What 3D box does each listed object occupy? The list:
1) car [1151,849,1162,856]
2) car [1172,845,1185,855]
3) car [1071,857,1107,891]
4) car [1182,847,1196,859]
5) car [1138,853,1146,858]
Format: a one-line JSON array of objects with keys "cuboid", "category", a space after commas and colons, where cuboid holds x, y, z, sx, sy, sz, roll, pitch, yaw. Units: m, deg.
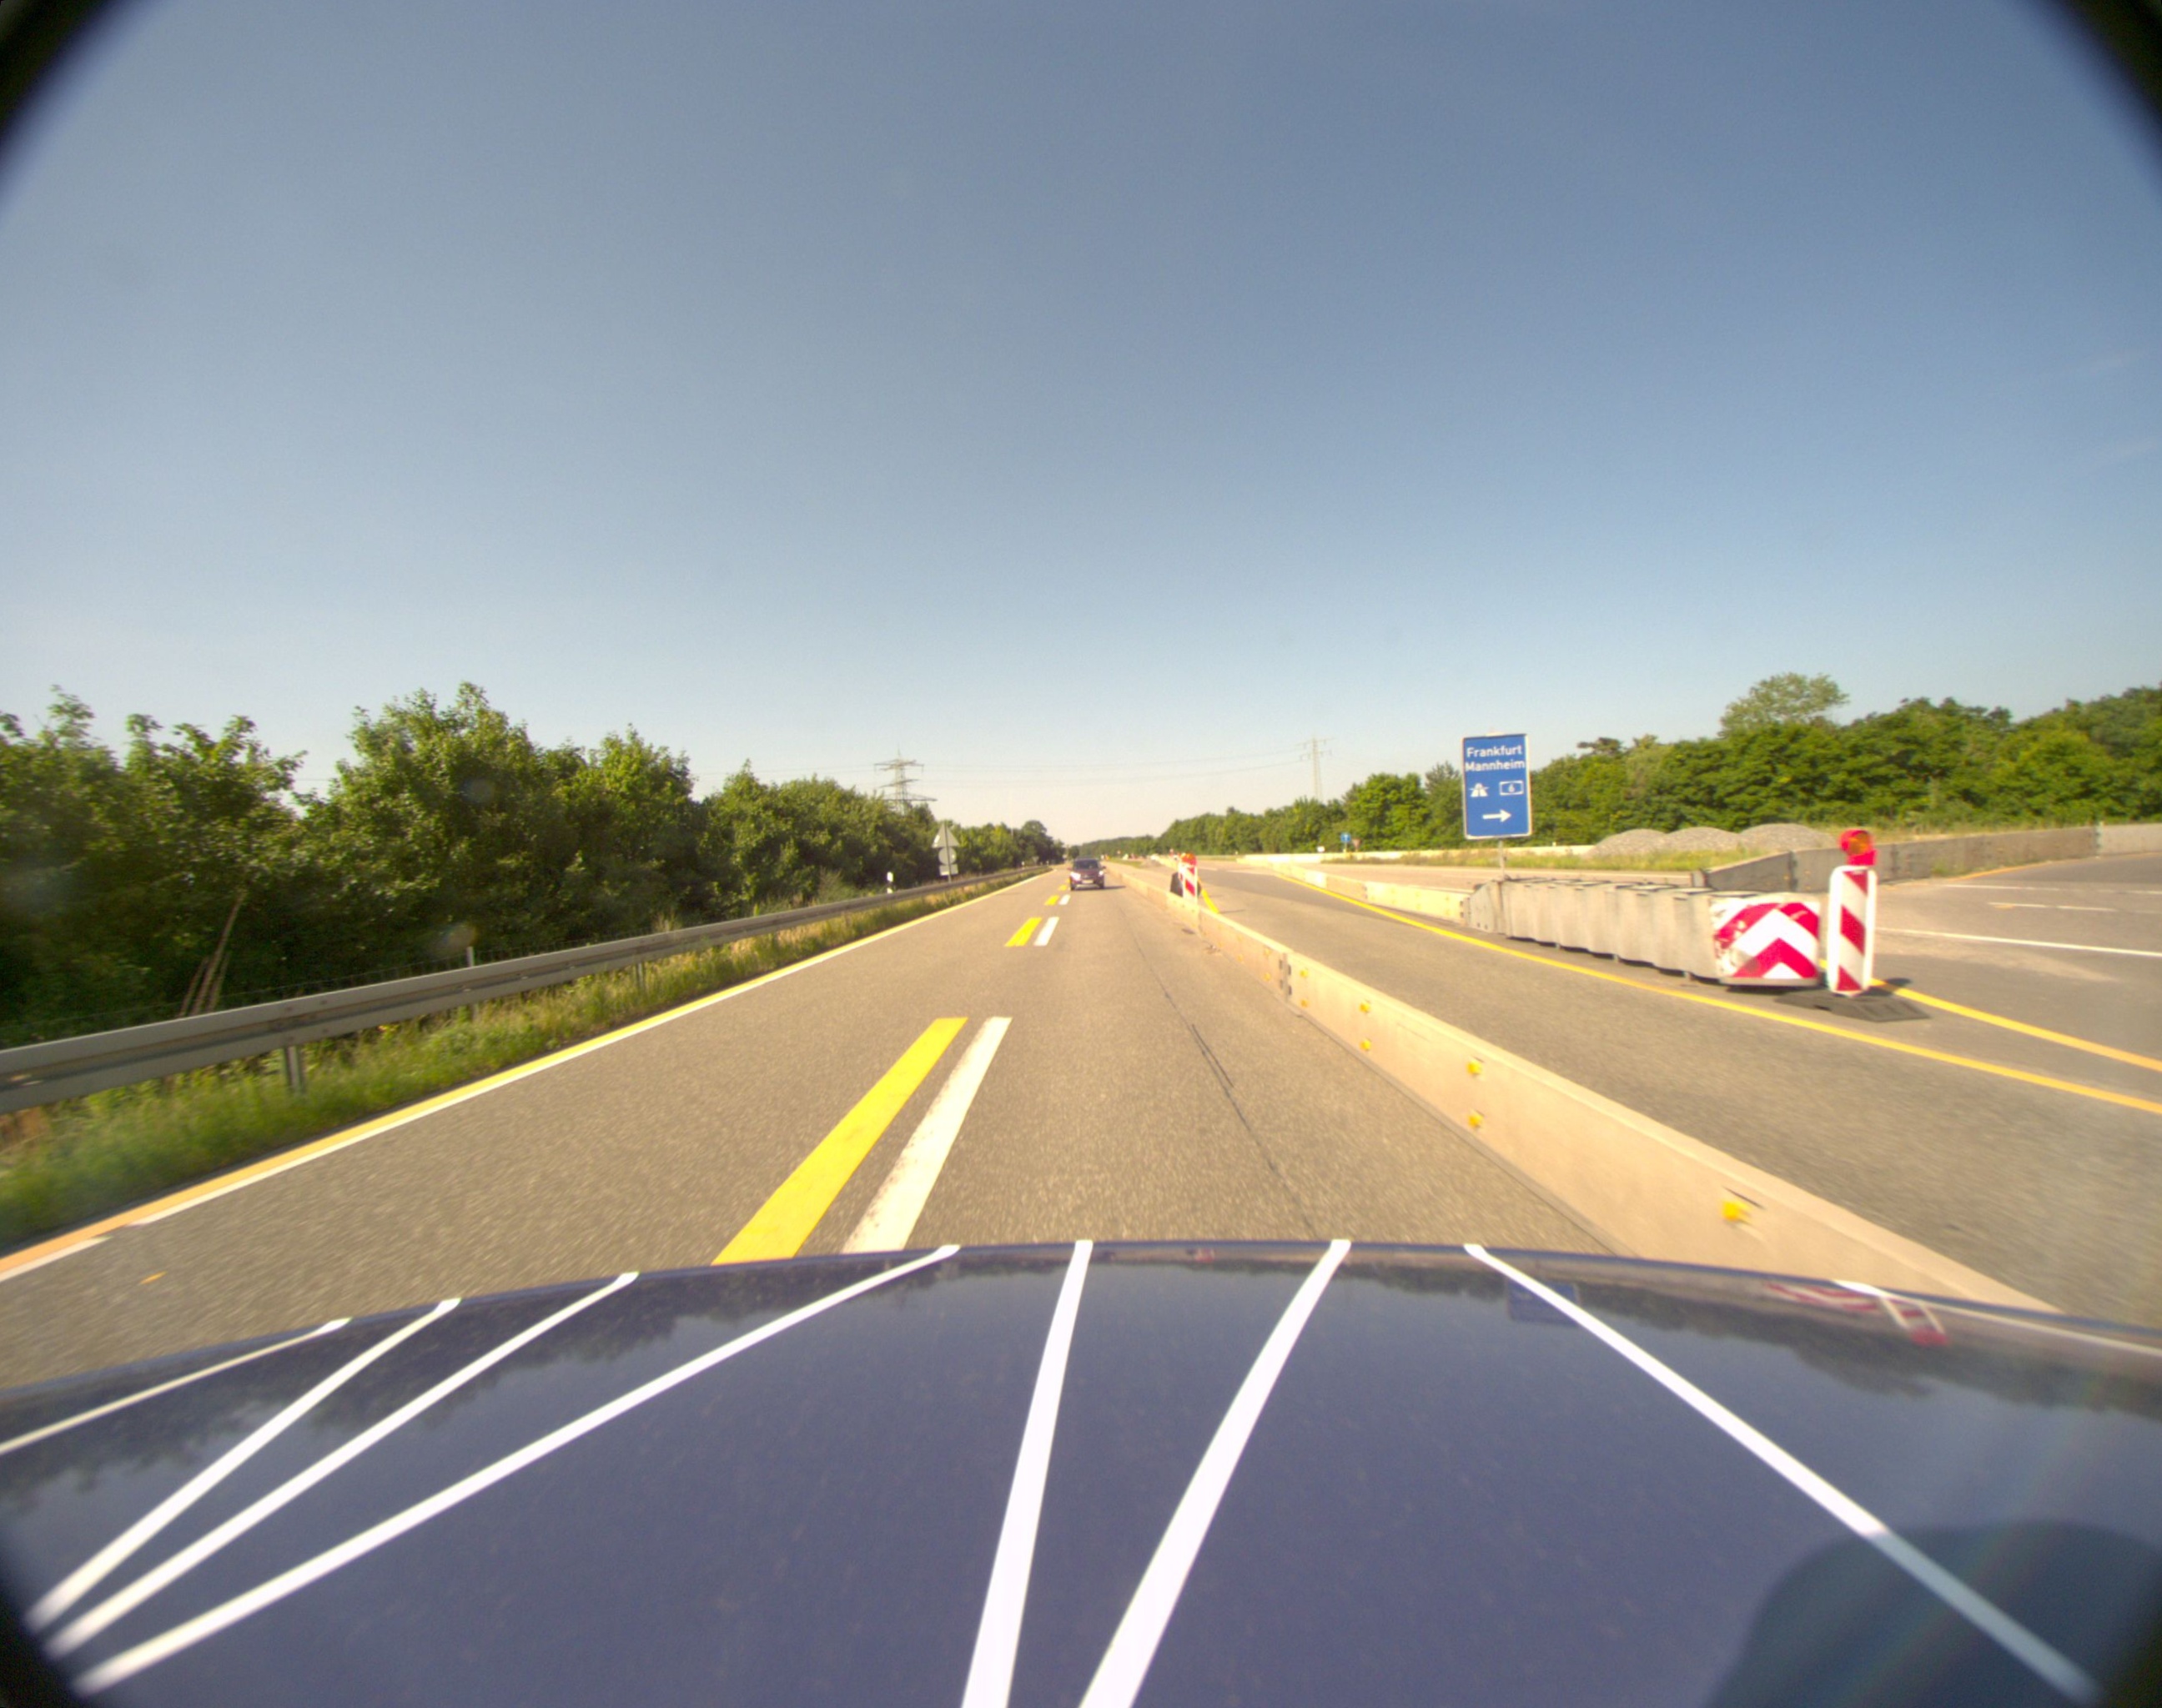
[{"cuboid": [17.574, -0.347, 176.384, 1.822, 1.598, 4.438, -3, 0, -2], "category": "car"}, {"cuboid": [16.697, -0.689, 130.392, 1.998, 1.507, 4.582, -3, 0, 6], "category": "car"}, {"cuboid": [0.454, 0.922, 36.967, 1.587, 1.491, 4.416, -2, 0, 2], "category": "car"}, {"cuboid": [15.424, -0.169, 108.623, 1.715, 1.507, 4.180, -3, 0, 6], "category": "car"}, {"cuboid": [16.844, 0.436, 209.027, 1.844, 1.432, 4.813, -2, 0, 2], "category": "car"}]
